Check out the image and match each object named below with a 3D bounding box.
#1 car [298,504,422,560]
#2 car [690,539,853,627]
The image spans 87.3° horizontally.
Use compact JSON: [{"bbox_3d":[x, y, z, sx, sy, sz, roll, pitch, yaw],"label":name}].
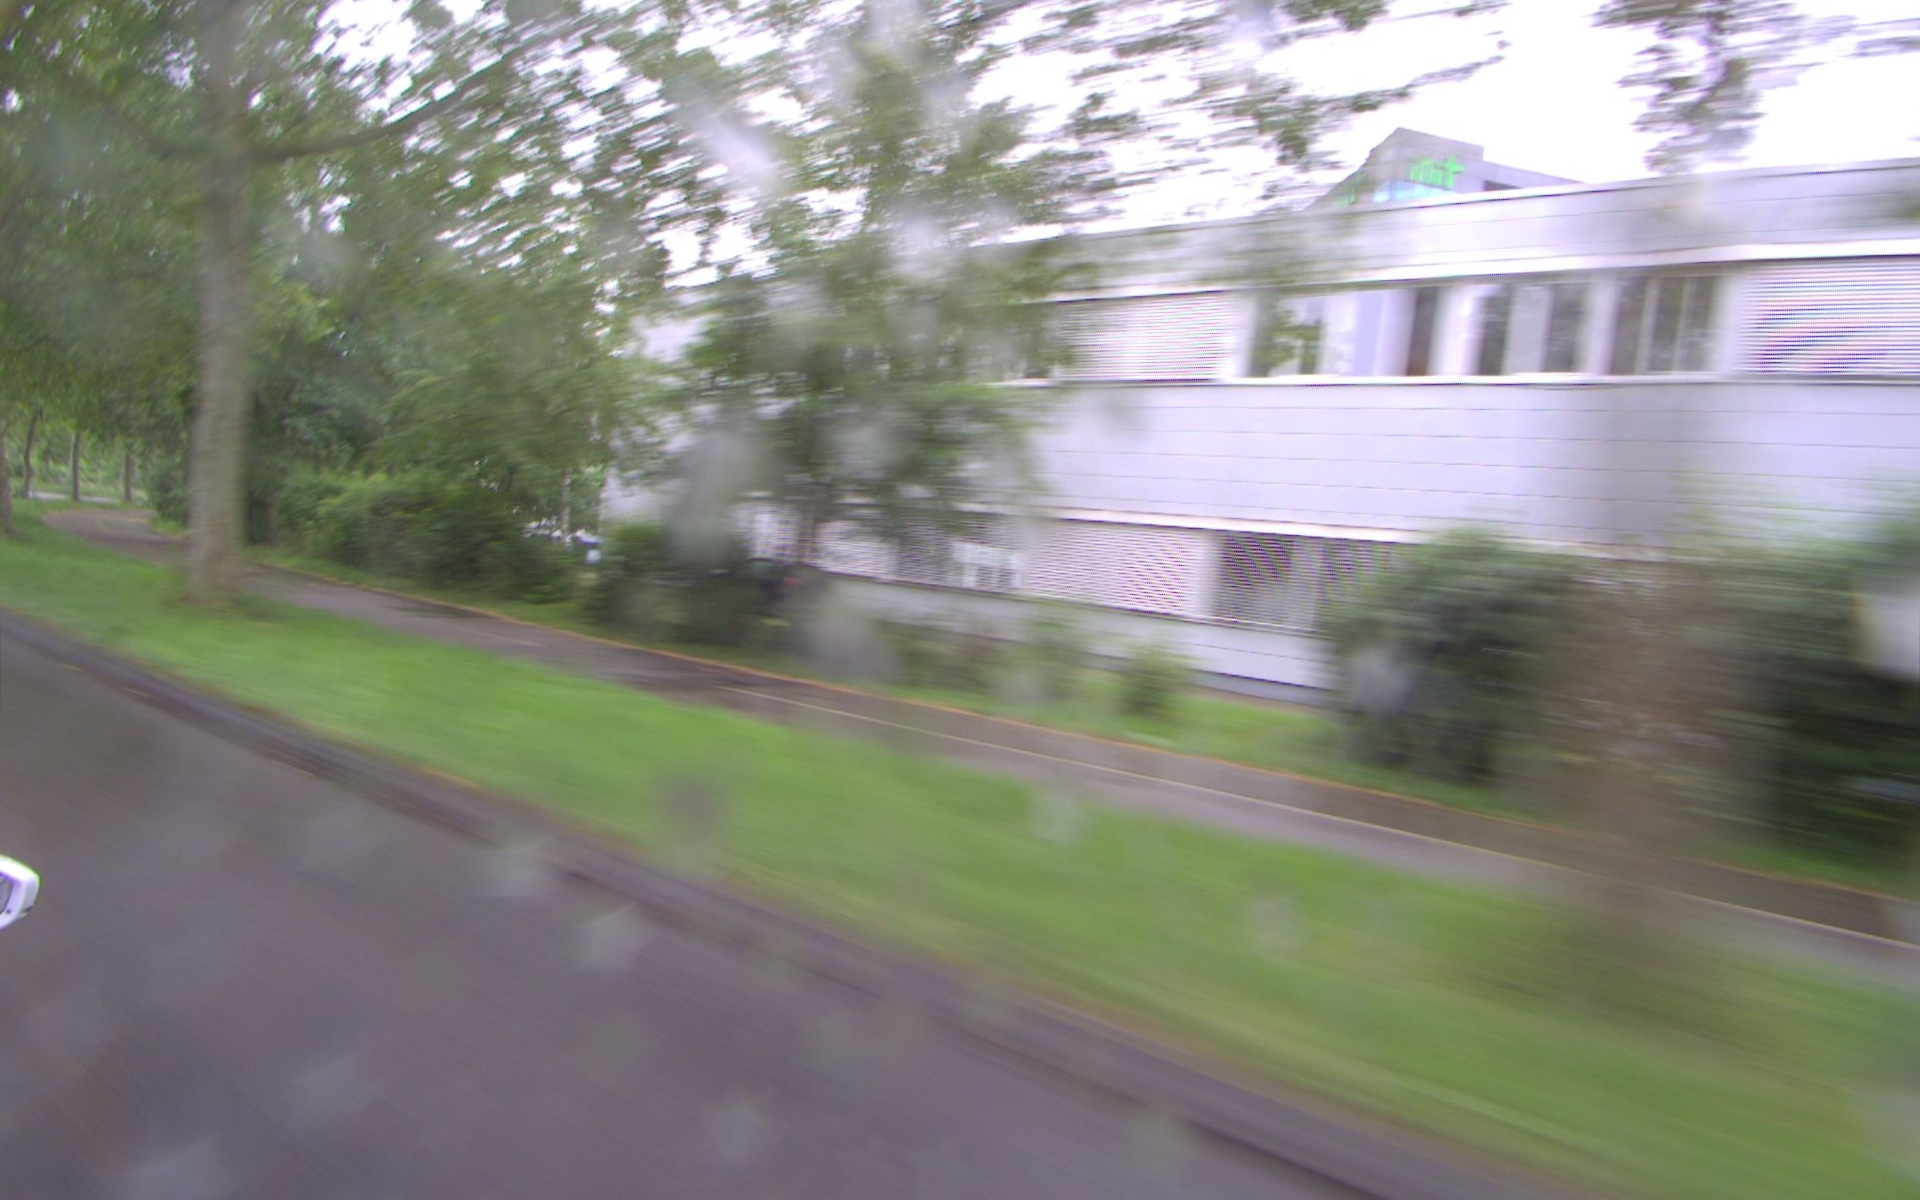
[{"bbox_3d":[-24.946,-2.822,41.889,4.127,1.500,1.749,10,0,-39],"label":"car"},{"bbox_3d":[-4.995,-0.459,26.405,4.093,1.601,1.763,10,1,38],"label":"car"}]
